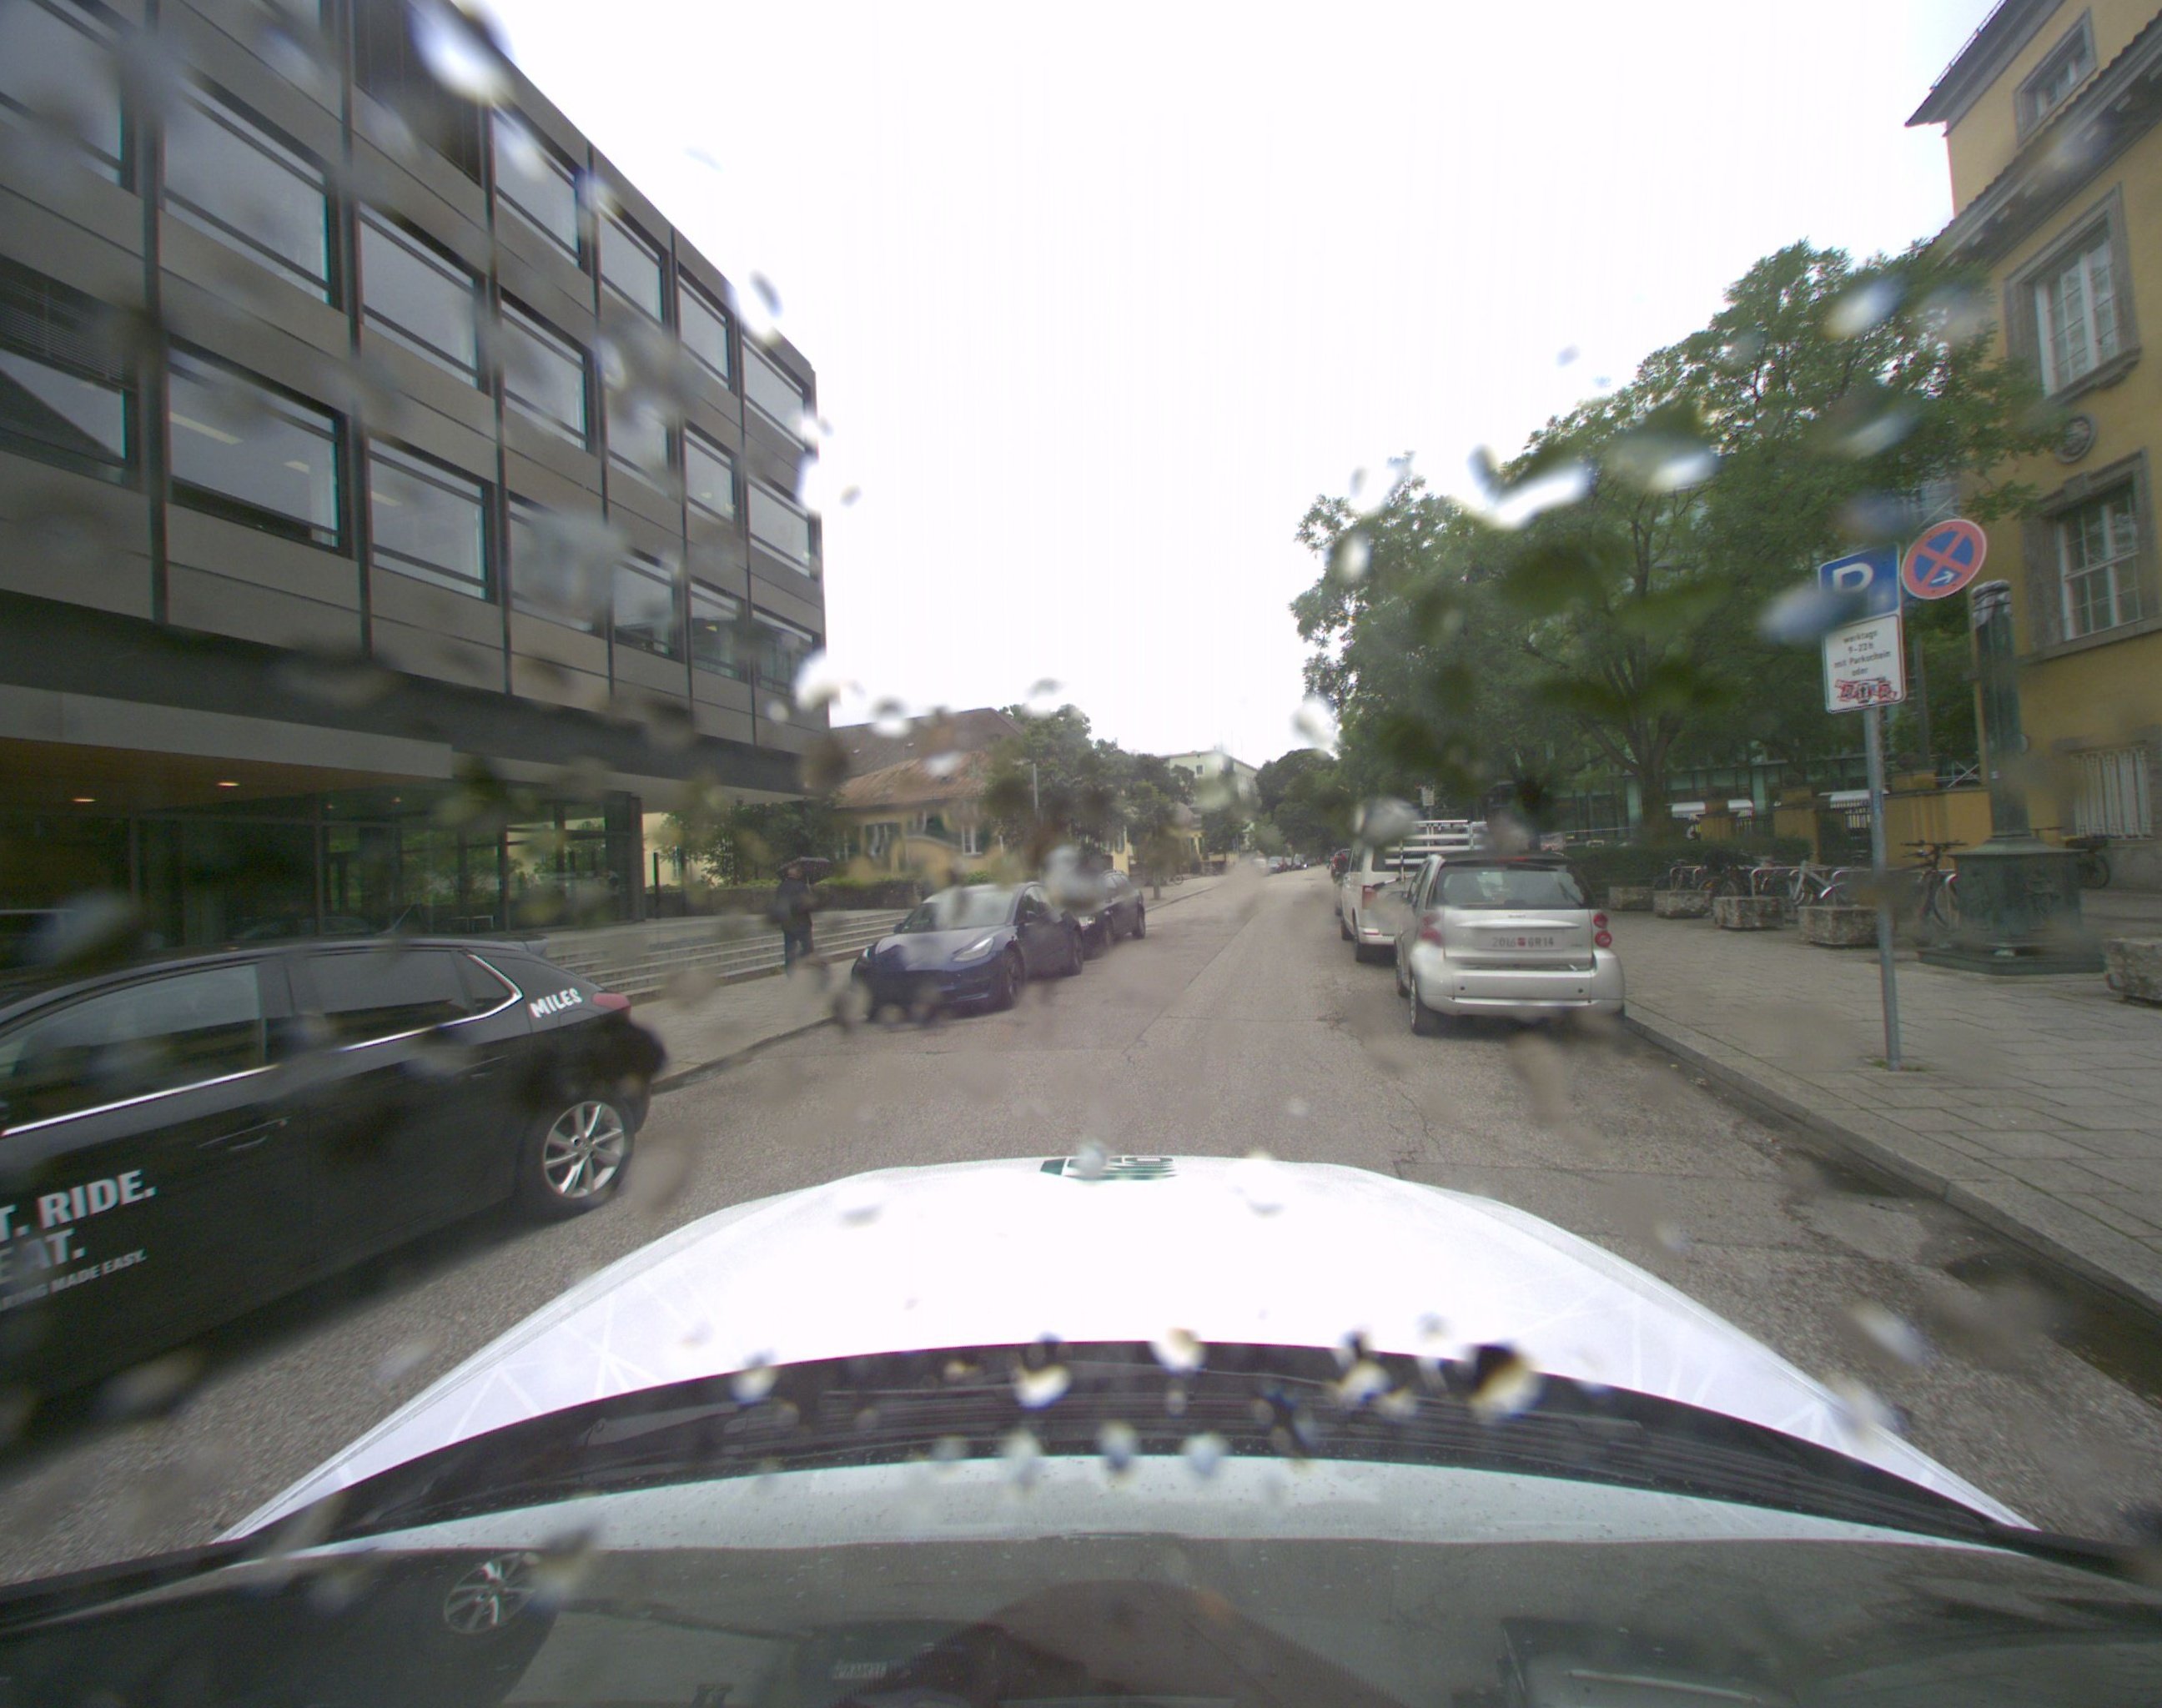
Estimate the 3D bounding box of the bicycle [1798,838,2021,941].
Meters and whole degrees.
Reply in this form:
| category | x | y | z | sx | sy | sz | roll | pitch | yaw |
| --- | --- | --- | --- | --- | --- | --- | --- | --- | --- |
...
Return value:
| category | x | y | z | sx | sy | sz | roll | pitch | yaw |
| --- | --- | --- | --- | --- | --- | --- | --- | --- | --- |
| bicycle | 10.184 | 0.444 | 10.069 | 1.918 | 1.113 | 0.473 | -5 | -1 | 12 |

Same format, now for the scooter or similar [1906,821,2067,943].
| category | x | y | z | sx | sy | sz | roll | pitch | yaw |
| --- | --- | --- | --- | --- | --- | --- | --- | --- | --- |
| scooter or similar | 9.788 | 0.301 | 8.833 | 0.539 | 1.222 | 1.002 | -4 | -1 | -29 |

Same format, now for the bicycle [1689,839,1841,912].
| category | x | y | z | sx | sy | sz | roll | pitch | yaw |
| --- | --- | --- | --- | --- | --- | --- | --- | --- | --- |
| bicycle | 11.771 | 0.374 | 14.072 | 1.916 | 1.113 | 0.473 | -5 | -1 | 17 |

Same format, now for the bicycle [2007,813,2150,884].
| category | x | y | z | sx | sy | sz | roll | pitch | yaw |
| --- | --- | --- | --- | --- | --- | --- | --- | --- | --- |
| bicycle | 17.733 | -0.104 | 14.543 | 0.538 | 1.154 | 1.909 | -4 | -1 | 15 |

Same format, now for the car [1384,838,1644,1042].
| category | x | y | z | sx | sy | sz | roll | pitch | yaw |
| --- | --- | --- | --- | --- | --- | --- | --- | --- | --- |
| car | 3.884 | 0.663 | 7.794 | 1.593 | 1.546 | 2.946 | -1 | 0 | 16 |

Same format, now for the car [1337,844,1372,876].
| category | x | y | z | sx | sy | sz | roll | pitch | yaw |
| --- | --- | --- | --- | --- | --- | --- | --- | --- | --- |
| car | 16.750 | 0.359 | 49.989 | 1.747 | 1.823 | 4.157 | -3 | -1 | 16 |

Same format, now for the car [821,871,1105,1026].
| category | x | y | z | sx | sy | sz | roll | pitch | yaw |
| --- | --- | --- | --- | --- | --- | --- | --- | --- | --- |
| car | -1.210 | 1.060 | 10.927 | 1.909 | 1.439 | 4.937 | -5 | -2 | 14 |

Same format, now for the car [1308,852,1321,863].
| category | x | y | z | sx | sy | sz | roll | pitch | yaw |
| --- | --- | --- | --- | --- | --- | --- | --- | --- | --- |
| car | 38.201 | 0.504 | 133.447 | 1.796 | 1.683 | 4.019 | -4 | -1 | 18 |

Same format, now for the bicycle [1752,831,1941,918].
| category | x | y | z | sx | sy | sz | roll | pitch | yaw |
| --- | --- | --- | --- | --- | --- | --- | --- | --- | --- |
| bicycle | 11.073 | 0.306 | 11.843 | 1.916 | 1.113 | 0.473 | -5 | -1 | 17 |

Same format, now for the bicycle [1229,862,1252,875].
| category | x | y | z | sx | sy | sz | roll | pitch | yaw |
| --- | --- | --- | --- | --- | --- | --- | --- | --- | --- |
| bicycle | 12.957 | 1.166 | 66.076 | 2.151 | 1.004 | 0.616 | -1 | 0 | -41 |

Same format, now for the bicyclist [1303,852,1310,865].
| category | x | y | z | sx | sy | sz | roll | pitch | yaw |
| --- | --- | --- | --- | --- | --- | --- | --- | --- | --- |
| bicyclist | 26.695 | 0.535 | 96.353 | 0.738 | 1.576 | 0.981 | -4 | -1 | 14 |

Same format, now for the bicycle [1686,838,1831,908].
| category | x | y | z | sx | sy | sz | roll | pitch | yaw |
| --- | --- | --- | --- | --- | --- | --- | --- | --- | --- |
| bicycle | 12.242 | 0.348 | 14.765 | 1.916 | 1.113 | 0.473 | -5 | -1 | 17 |

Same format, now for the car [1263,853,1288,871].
| category | x | y | z | sx | sy | sz | roll | pitch | yaw |
| --- | --- | --- | --- | --- | --- | --- | --- | --- | --- |
| car | 19.620 | 0.754 | 82.046 | 1.977 | 1.648 | 4.677 | -3 | -1 | 19 |

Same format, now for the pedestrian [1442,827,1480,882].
| category | x | y | z | sx | sy | sz | roll | pitch | yaw |
| --- | --- | --- | --- | --- | --- | --- | --- | --- | --- |
| pedestrian | 13.932 | 0.016 | 29.854 | 1.061 | 1.907 | 0.736 | -3 | -2 | -39 |

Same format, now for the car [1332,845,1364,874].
| category | x | y | z | sx | sy | sz | roll | pitch | yaw |
| --- | --- | --- | --- | --- | --- | --- | --- | --- | --- |
| car | 17.922 | 0.360 | 54.692 | 1.848 | 1.794 | 4.531 | -4 | -1 | 19 |

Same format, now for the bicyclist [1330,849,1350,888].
| category | x | y | z | sx | sy | sz | roll | pitch | yaw |
| --- | --- | --- | --- | --- | --- | --- | --- | --- | --- |
| bicyclist | 10.322 | 0.568 | 32.436 | 0.666 | 1.498 | 1.100 | -4 | -3 | 19 |

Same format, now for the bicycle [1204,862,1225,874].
| category | x | y | z | sx | sy | sz | roll | pitch | yaw |
| --- | --- | --- | --- | --- | --- | --- | --- | --- | --- |
| bicycle | 11.616 | 1.206 | 70.719 | 1.613 | 0.926 | 0.649 | -3 | -2 | -9 |

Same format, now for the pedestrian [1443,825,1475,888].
| category | x | y | z | sx | sy | sz | roll | pitch | yaw |
| --- | --- | --- | --- | --- | --- | --- | --- | --- | --- |
| pedestrian | 13.336 | 0.103 | 28.753 | 0.737 | 2.135 | 1.060 | -4 | -1 | 15 |

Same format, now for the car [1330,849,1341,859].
| category | x | y | z | sx | sy | sz | roll | pitch | yaw |
| --- | --- | --- | --- | --- | --- | --- | --- | --- | --- |
| car | 52.726 | -0.074 | 168.694 | 1.977 | 2.099 | 4.019 | -1 | 0 | 18 |

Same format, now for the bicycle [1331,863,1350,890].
| category | x | y | z | sx | sy | sz | roll | pitch | yaw |
| --- | --- | --- | --- | --- | --- | --- | --- | --- | --- |
| bicycle | 10.347 | 0.872 | 32.419 | 0.616 | 1.004 | 2.150 | -4 | -2 | 19 |

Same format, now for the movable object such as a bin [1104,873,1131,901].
| category | x | y | z | sx | sy | sz | roll | pitch | yaw |
| --- | --- | --- | --- | --- | --- | --- | --- | --- | --- |
| movable object such as a bin | 1.523 | 1.377 | 34.016 | 0.928 | 1.063 | 0.843 | -3 | 0 | 13 |

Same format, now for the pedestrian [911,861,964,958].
| category | x | y | z | sx | sy | sz | roll | pitch | yaw |
| --- | --- | --- | --- | --- | --- | --- | --- | --- | --- |
| pedestrian | -2.714 | 1.028 | 15.503 | 0.750 | 1.749 | 0.952 | -3 | -1 | 0 |

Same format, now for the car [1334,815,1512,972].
| category | x | y | z | sx | sy | sz | roll | pitch | yaw |
| --- | --- | --- | --- | --- | --- | --- | --- | --- | --- |
| car | 5.069 | 0.492 | 12.779 | 1.831 | 1.933 | 5.293 | -1 | 0 | 15 |

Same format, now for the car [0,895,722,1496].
| category | x | y | z | sx | sy | sz | roll | pitch | yaw |
| --- | --- | --- | --- | --- | --- | --- | --- | --- | --- |
| car | -3.592 | 1.057 | 2.939 | 1.726 | 1.461 | 4.255 | -6 | -2 | 17 |

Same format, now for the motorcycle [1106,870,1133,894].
| category | x | y | z | sx | sy | sz | roll | pitch | yaw |
| --- | --- | --- | --- | --- | --- | --- | --- | --- | --- |
| motorcycle | 1.838 | 1.334 | 39.212 | 0.559 | 1.101 | 1.825 | -1 | -1 | -21 |

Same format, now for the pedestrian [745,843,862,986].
| category | x | y | z | sx | sy | sz | roll | pitch | yaw |
| --- | --- | --- | --- | --- | --- | --- | --- | --- | --- |
| pedestrian | -4.185 | 0.883 | 12.386 | 1.127 | 2.055 | 1.226 | -2 | -1 | 15 |

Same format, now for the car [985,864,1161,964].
| category | x | y | z | sx | sy | sz | roll | pitch | yaw |
| --- | --- | --- | --- | --- | --- | --- | --- | --- | --- |
| car | 0.069 | 1.050 | 16.055 | 1.978 | 1.491 | 4.905 | -5 | -1 | 17 |

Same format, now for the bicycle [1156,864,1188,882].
| category | x | y | z | sx | sy | sz | roll | pitch | yaw |
| --- | --- | --- | --- | --- | --- | --- | --- | --- | --- |
| bicycle | 5.871 | 1.242 | 52.530 | 1.915 | 1.099 | 0.618 | -1 | 0 | 18 |

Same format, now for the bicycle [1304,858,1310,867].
| category | x | y | z | sx | sy | sz | roll | pitch | yaw |
| --- | --- | --- | --- | --- | --- | --- | --- | --- | --- |
| bicycle | 26.709 | 1.008 | 96.358 | 0.617 | 1.004 | 2.149 | -4 | -1 | 15 |

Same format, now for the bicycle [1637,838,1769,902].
| category | x | y | z | sx | sy | sz | roll | pitch | yaw |
| --- | --- | --- | --- | --- | --- | --- | --- | --- | --- |
| bicycle | 12.397 | 0.324 | 16.273 | 2.017 | 1.113 | 0.473 | -5 | -1 | 12 |

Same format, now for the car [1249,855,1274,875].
| category | x | y | z | sx | sy | sz | roll | pitch | yaw |
| --- | --- | --- | --- | --- | --- | --- | --- | --- | --- |
| car | 15.541 | 0.923 | 70.059 | 1.719 | 1.581 | 3.806 | 0 | 0 | 19 |

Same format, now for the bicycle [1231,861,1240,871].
| category | x | y | z | sx | sy | sz | roll | pitch | yaw |
| --- | --- | --- | --- | --- | --- | --- | --- | --- | --- |
| bicycle | 15.597 | 1.234 | 82.268 | 0.616 | 1.004 | 1.627 | -3 | -2 | 22 |

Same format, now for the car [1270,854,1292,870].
| category | x | y | z | sx | sy | sz | roll | pitch | yaw |
| --- | --- | --- | --- | --- | --- | --- | --- | --- | --- |
| car | 21.393 | 0.871 | 87.106 | 1.978 | 1.603 | 4.018 | -3 | -2 | 17 |

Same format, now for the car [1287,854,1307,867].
| category | x | y | z | sx | sy | sz | roll | pitch | yaw |
| --- | --- | --- | --- | --- | --- | --- | --- | --- | --- |
| car | 27.572 | 0.764 | 103.736 | 1.977 | 1.486 | 4.020 | -4 | -1 | 20 |
